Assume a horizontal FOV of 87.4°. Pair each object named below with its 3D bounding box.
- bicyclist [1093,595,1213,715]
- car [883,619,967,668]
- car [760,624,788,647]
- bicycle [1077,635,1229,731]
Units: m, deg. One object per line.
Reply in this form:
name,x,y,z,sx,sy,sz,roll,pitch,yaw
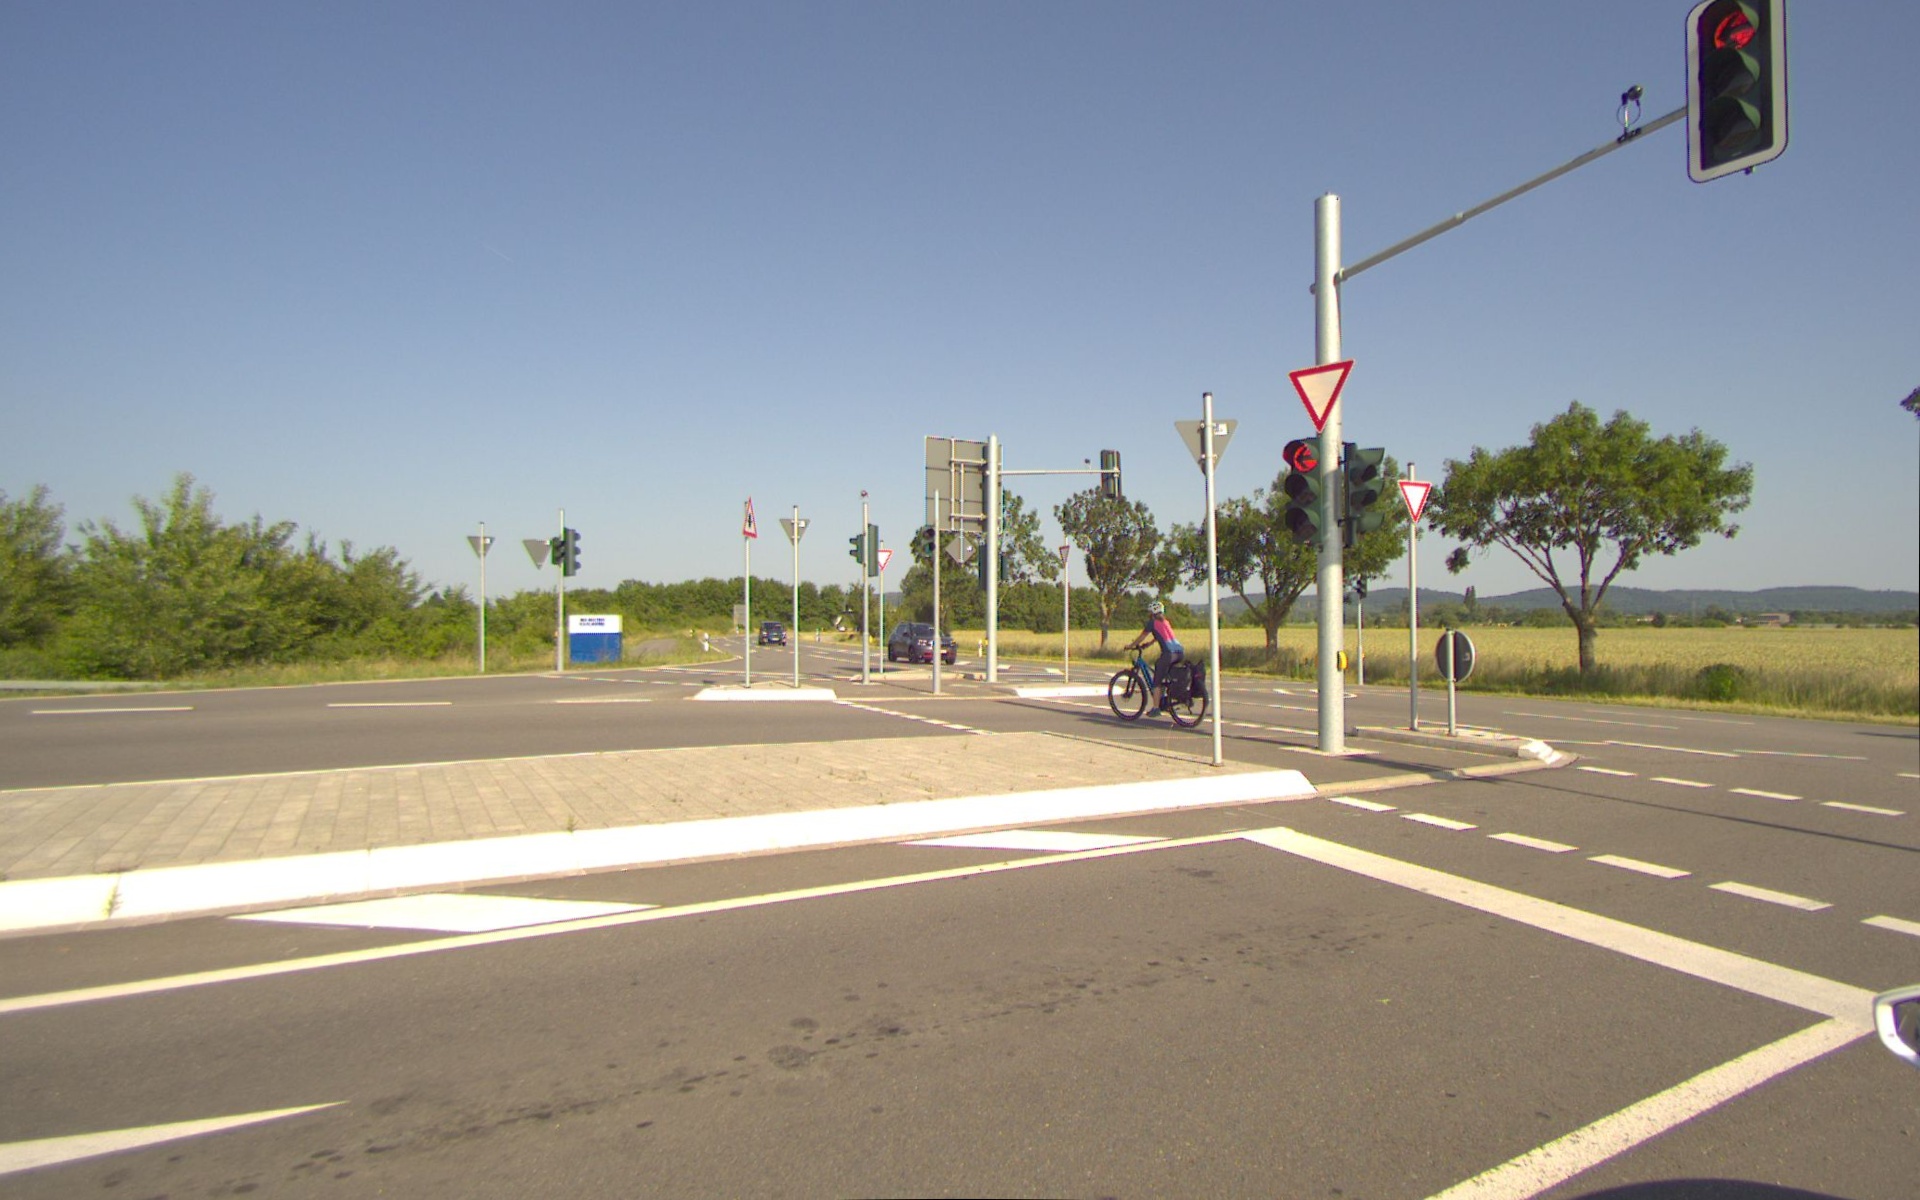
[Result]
bicyclist,2.762,0.750,14.425,1.153,1.623,1.271,0,0,-34
car,-1.494,1.736,41.234,1.971,1.746,4.594,2,0,-22
car,-14.215,2.728,76.542,1.740,1.578,3.843,2,-3,-15
bicycle,2.725,1.148,14.426,0.881,1.202,2.142,2,-1,-34
